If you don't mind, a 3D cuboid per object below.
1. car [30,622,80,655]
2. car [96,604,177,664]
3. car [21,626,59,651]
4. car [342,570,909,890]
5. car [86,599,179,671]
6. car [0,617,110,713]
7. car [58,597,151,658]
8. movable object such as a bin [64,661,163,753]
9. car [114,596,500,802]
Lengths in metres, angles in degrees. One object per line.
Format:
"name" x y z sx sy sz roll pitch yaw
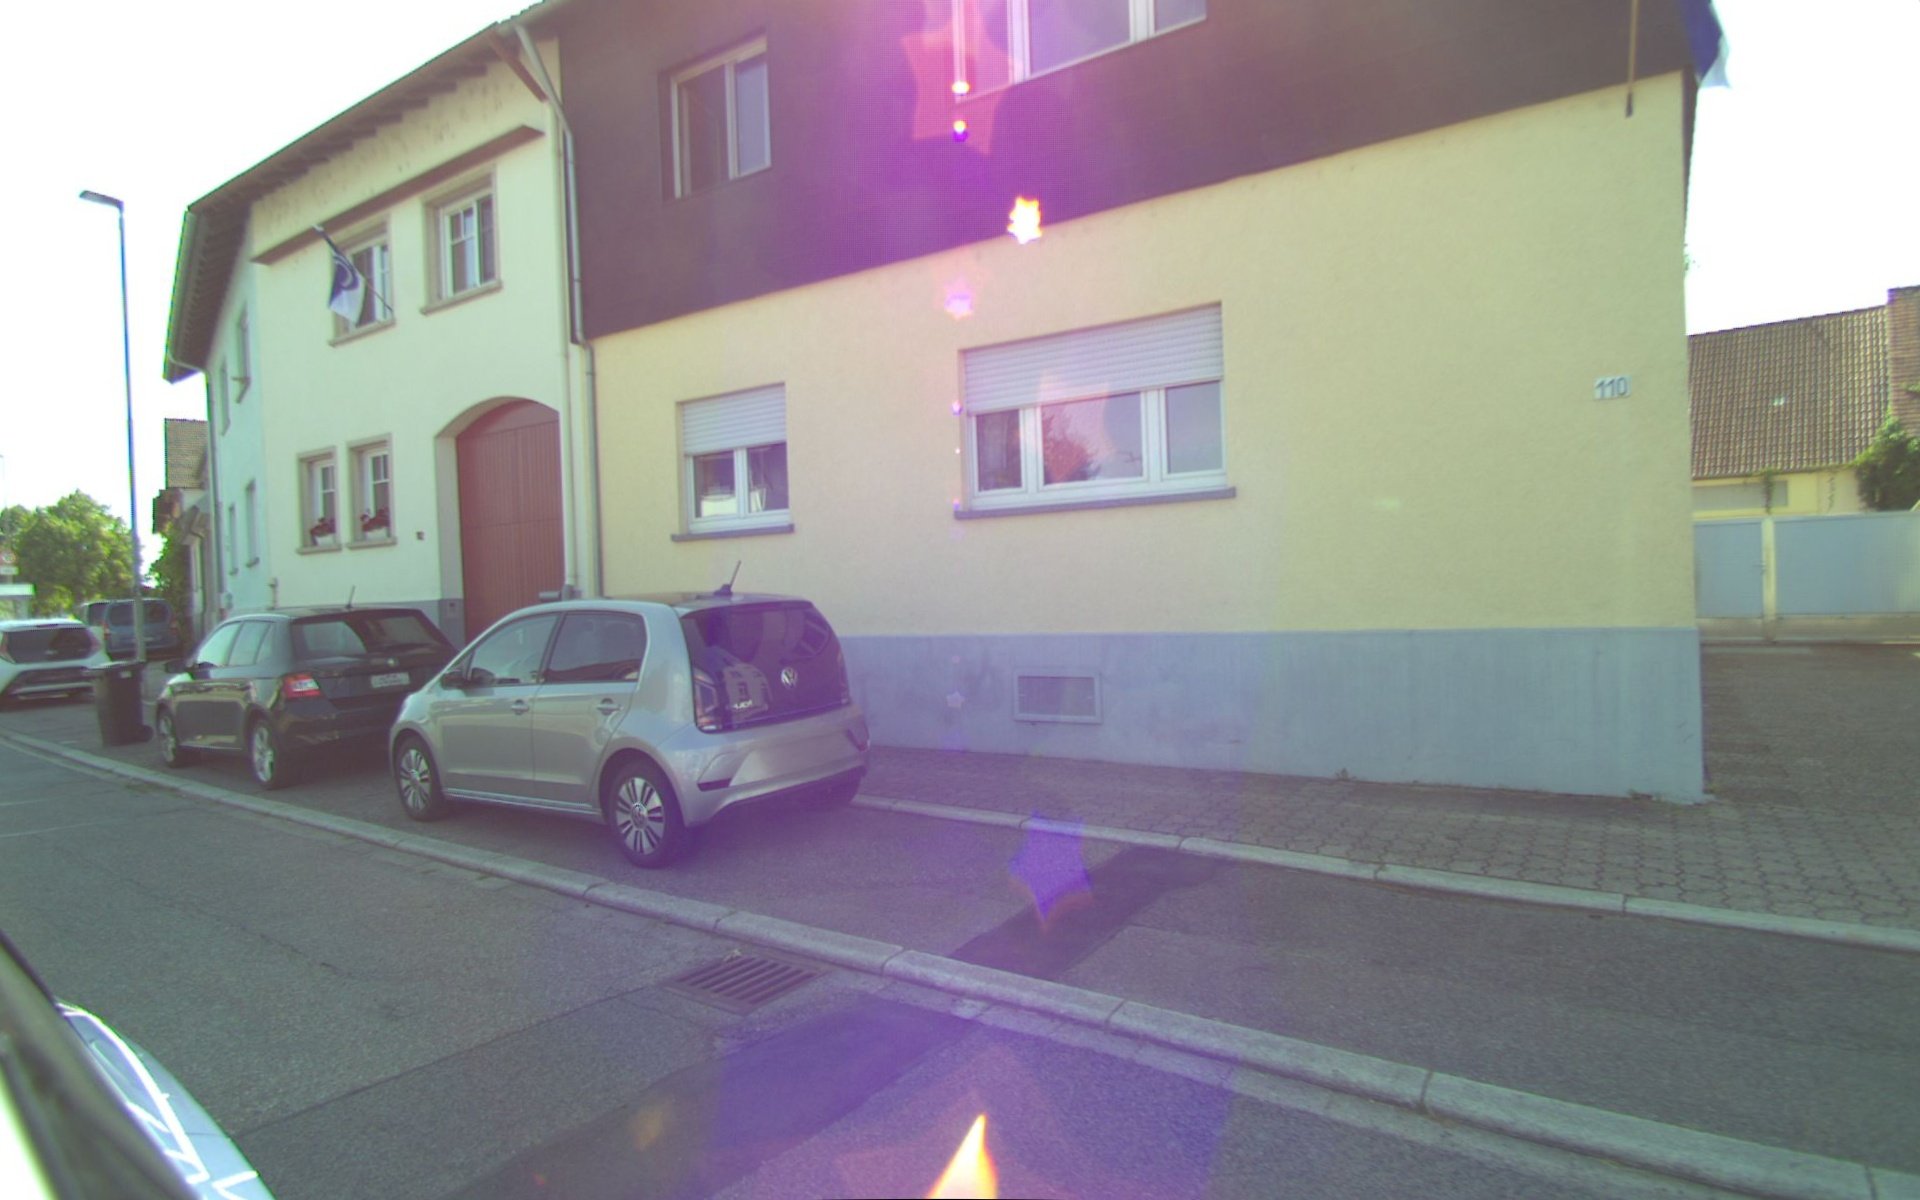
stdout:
"car" -45.268 1.925 50.587 1.695 1.464 3.917 -3 0 -44
"car" -27.515 1.087 33.780 1.943 1.787 4.284 -3 1 -40
"car" -57.342 2.381 63.141 1.694 1.418 4.404 0 0 -42
"car" -2.342 0.655 6.716 3.774 1.512 1.626 -1 2 36
"car" -24.207 0.982 29.731 1.813 1.806 4.352 -5 2 -37
"car" -16.351 1.077 17.751 3.648 1.473 1.666 -1 1 42
"car" -33.659 1.047 39.759 5.266 2.000 2.103 -1 5 44
"movable object such as a bin" -9.640 1.200 11.526 0.822 0.935 0.548 -2 4 30
"car" -6.249 0.791 9.543 3.988 1.447 1.664 -1 3 36
